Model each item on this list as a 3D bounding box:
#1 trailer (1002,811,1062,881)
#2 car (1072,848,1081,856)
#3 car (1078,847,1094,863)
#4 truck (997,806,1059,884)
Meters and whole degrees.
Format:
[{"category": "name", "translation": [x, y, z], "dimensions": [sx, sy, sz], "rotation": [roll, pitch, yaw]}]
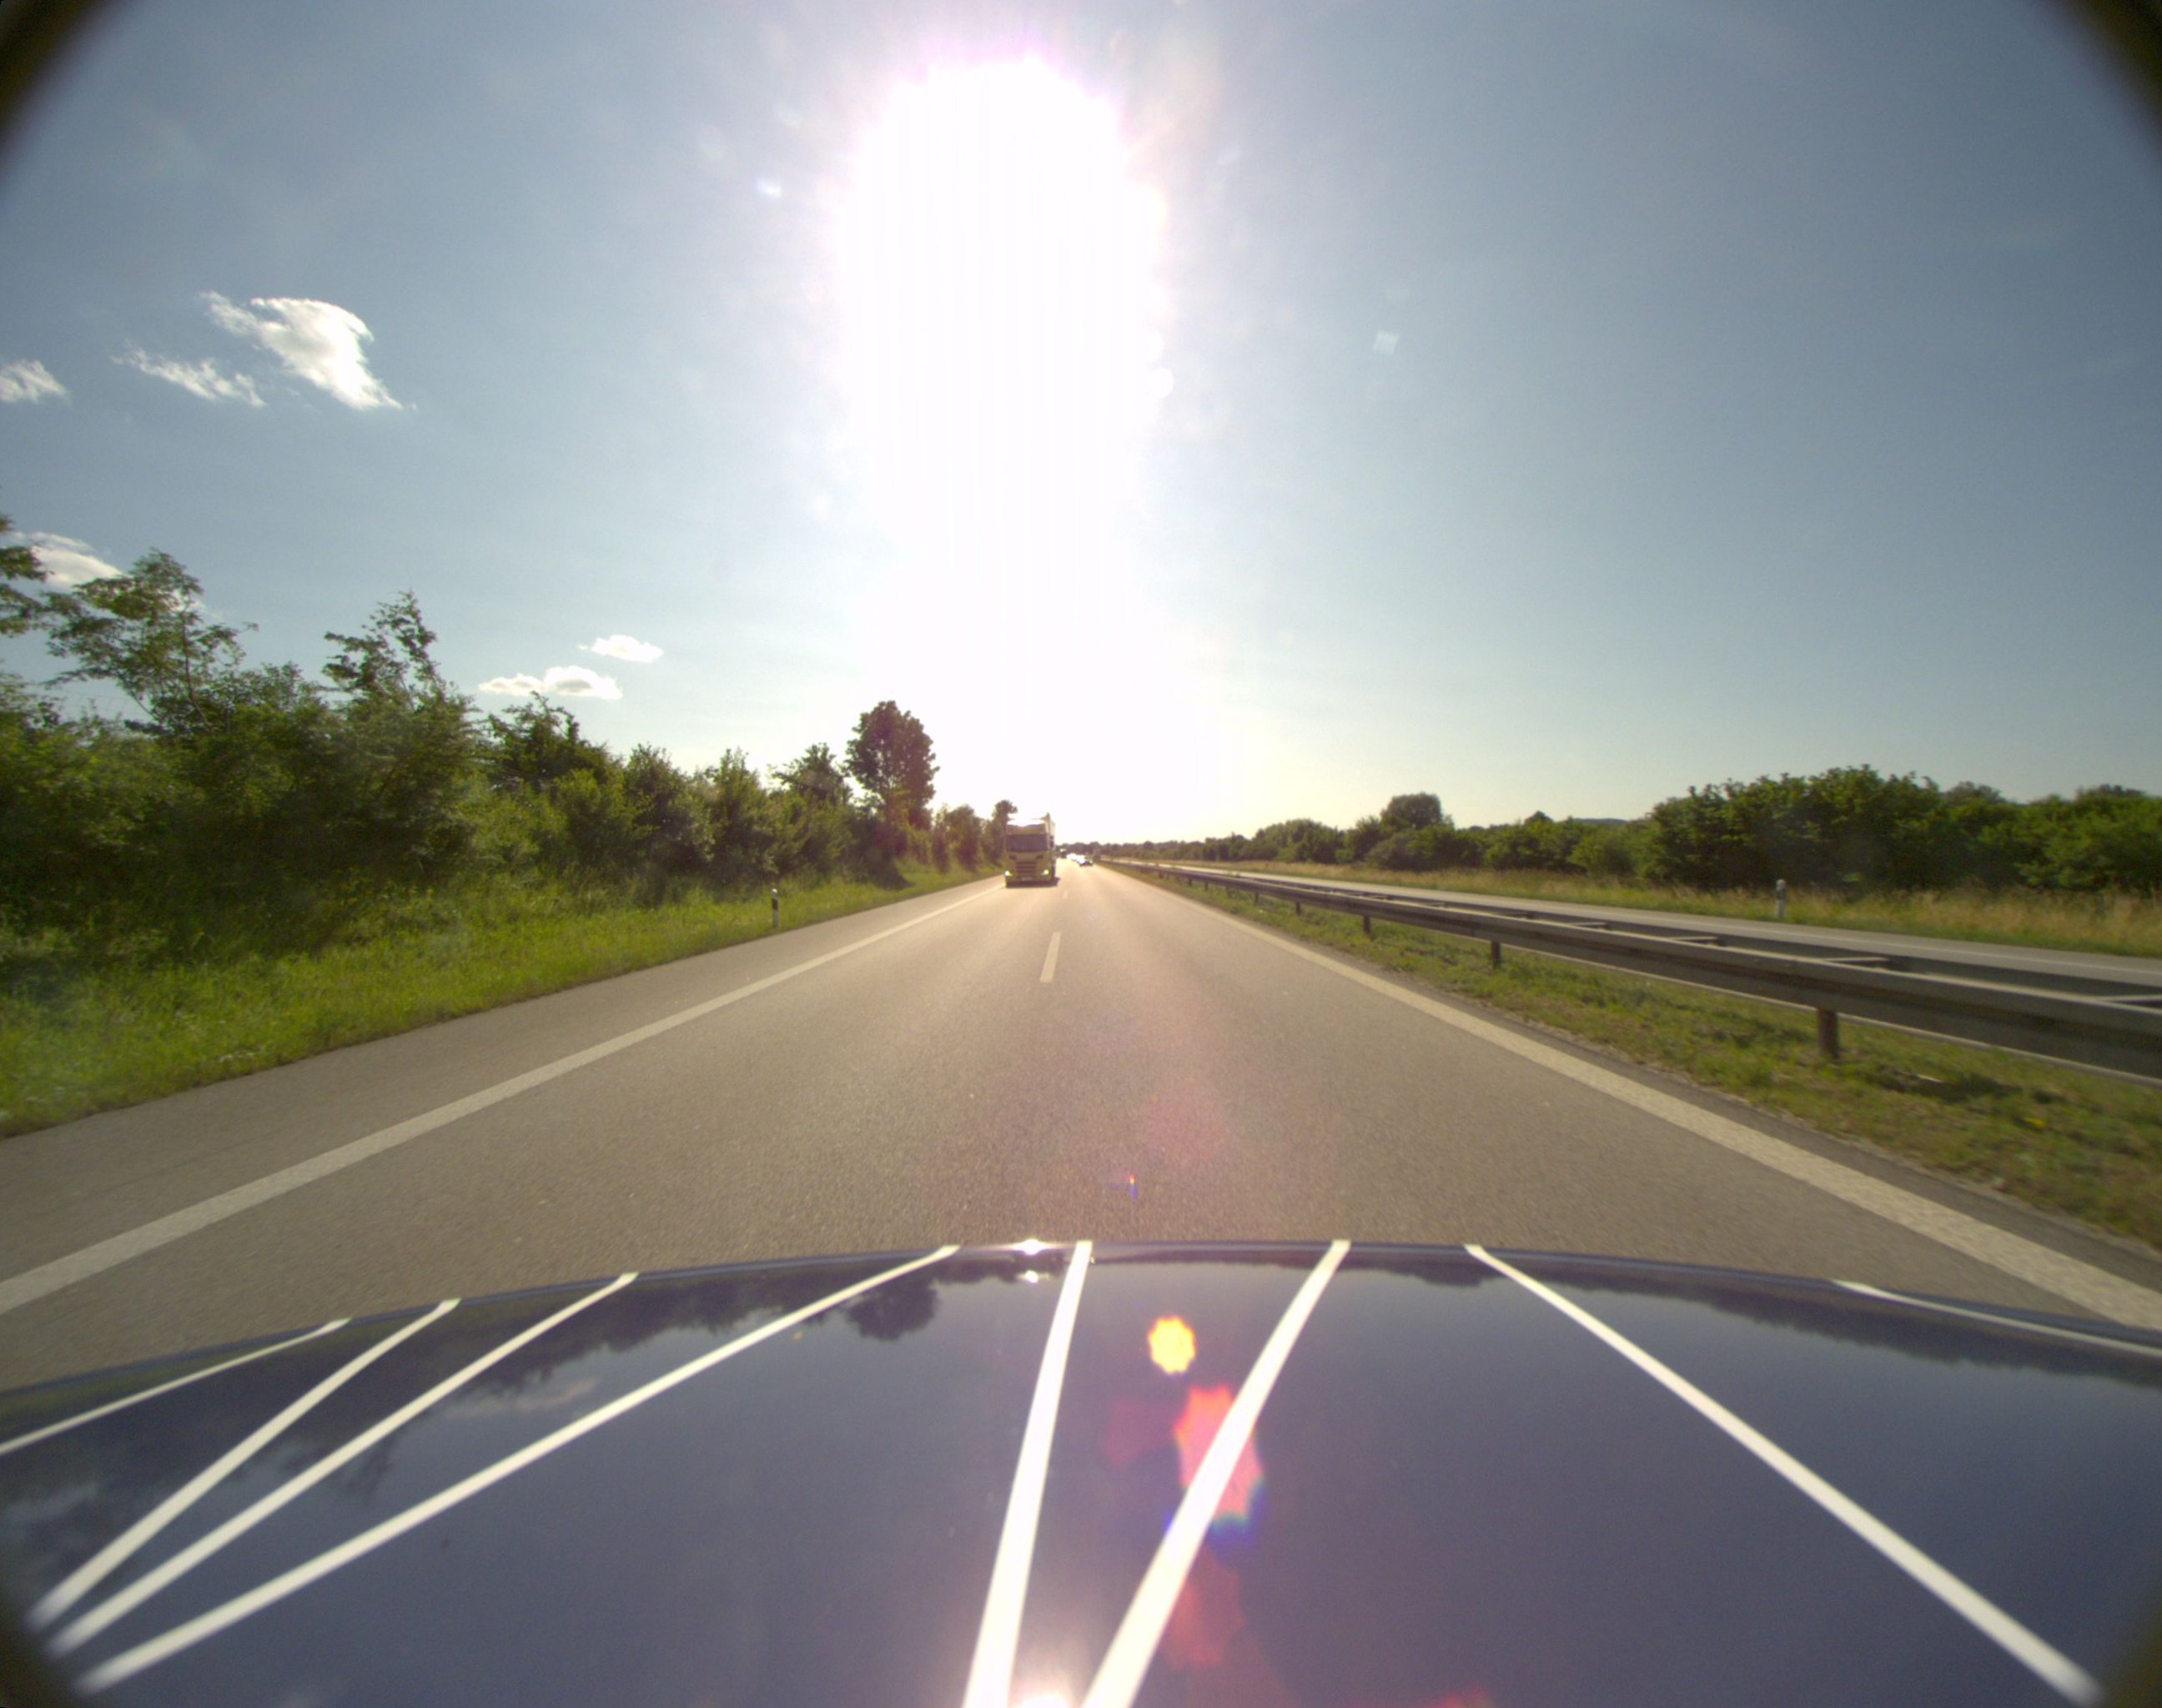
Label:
[{"category": "trailer", "translation": [-3.061, -0.547, 51.465], "dimensions": [3.193, 4.036, 13.183], "rotation": [-3, 1, -1]}, {"category": "car", "translation": [-1.022, -0.464, 185.268], "dimensions": [1.998, 2.002, 3.999], "rotation": [-3, 1, 1]}, {"category": "car", "translation": [0.609, 0.109, 103.351], "dimensions": [1.999, 2.002, 4.357], "rotation": [-3, 1, -1]}, {"category": "truck", "translation": [-2.973, -0.512, 44.311], "dimensions": [3.177, 4.090, 6.386], "rotation": [-3, 1, -2]}]
